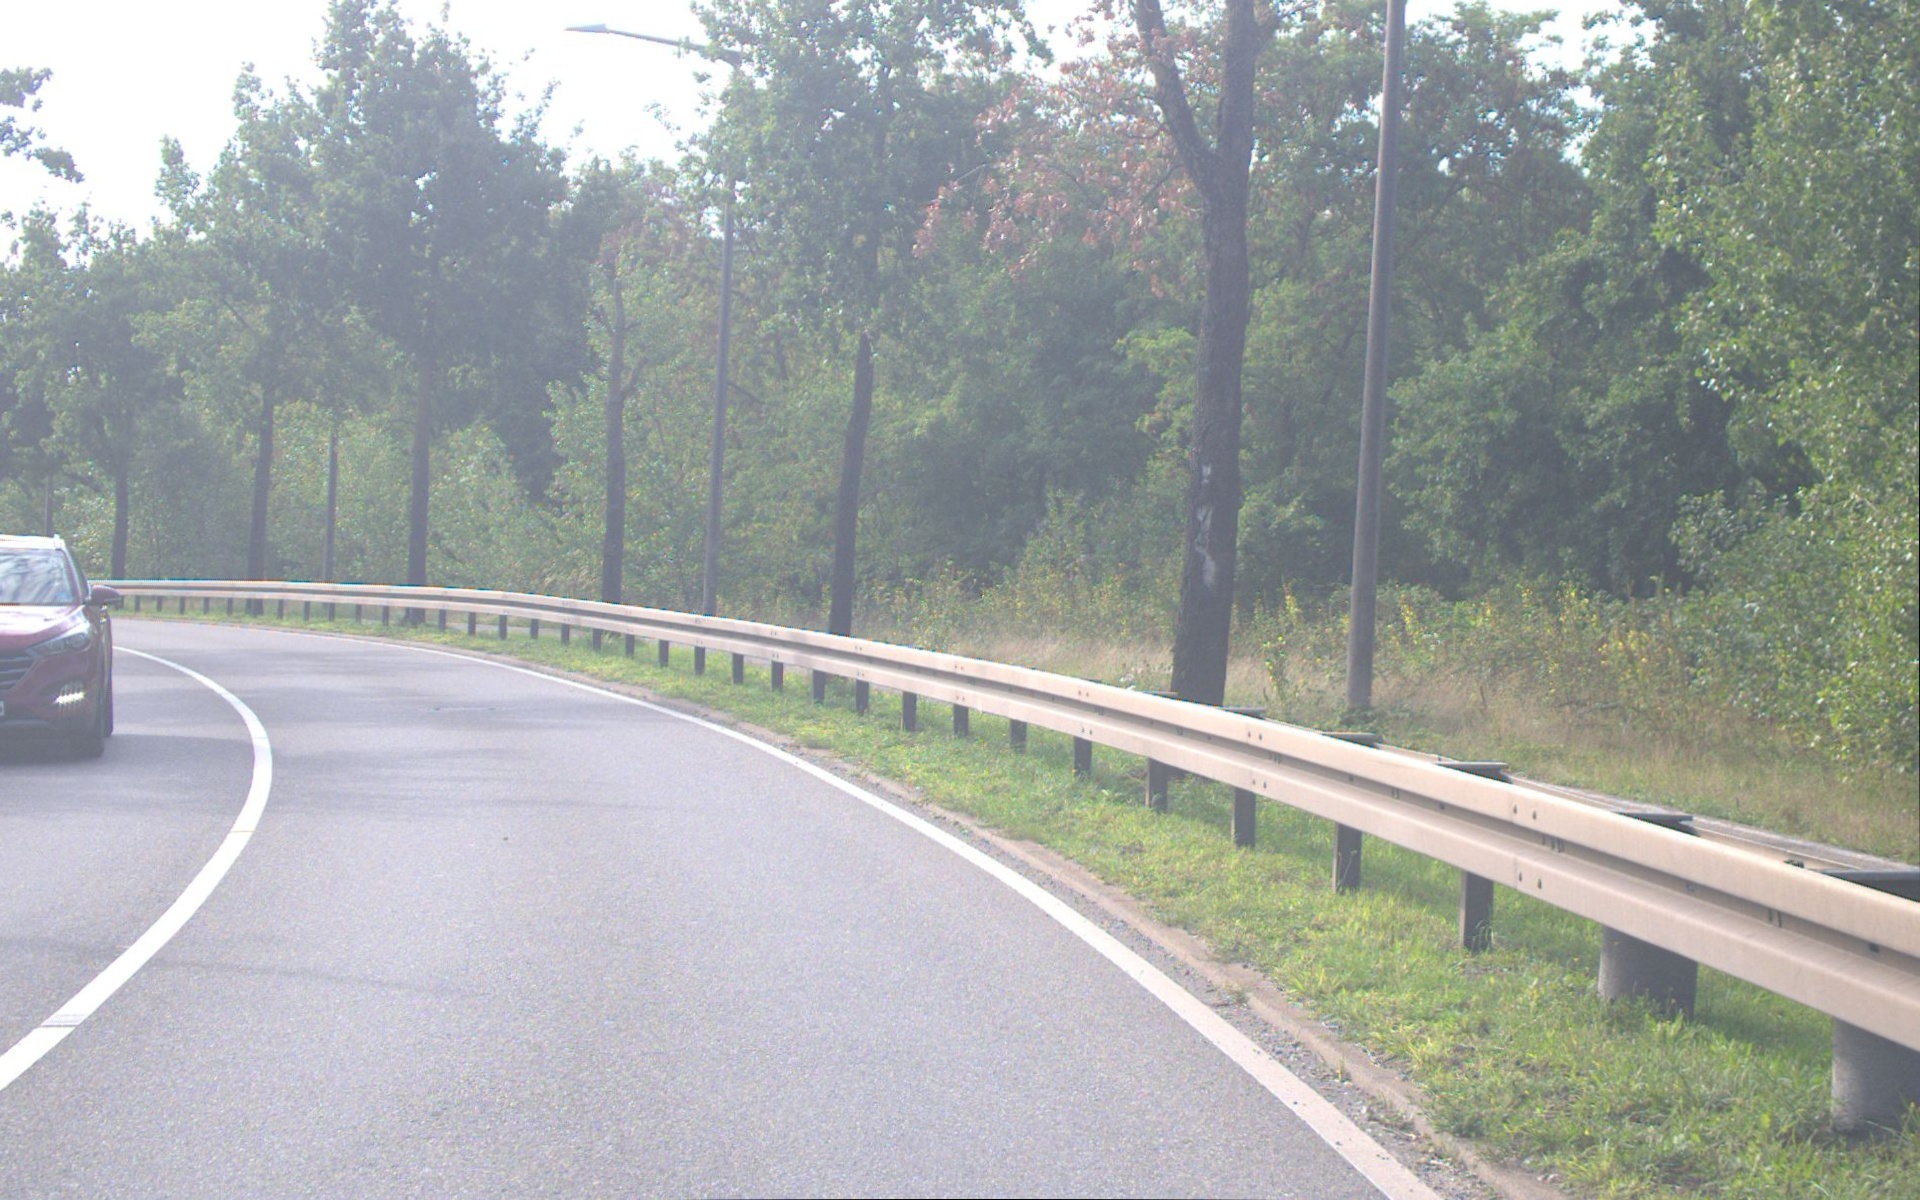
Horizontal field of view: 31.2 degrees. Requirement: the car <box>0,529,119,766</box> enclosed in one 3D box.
[{"bbox_3d":[-7.445,0.296,26.264,1.808,1.668,4.299,0,1,-12],"label":"car"}]
